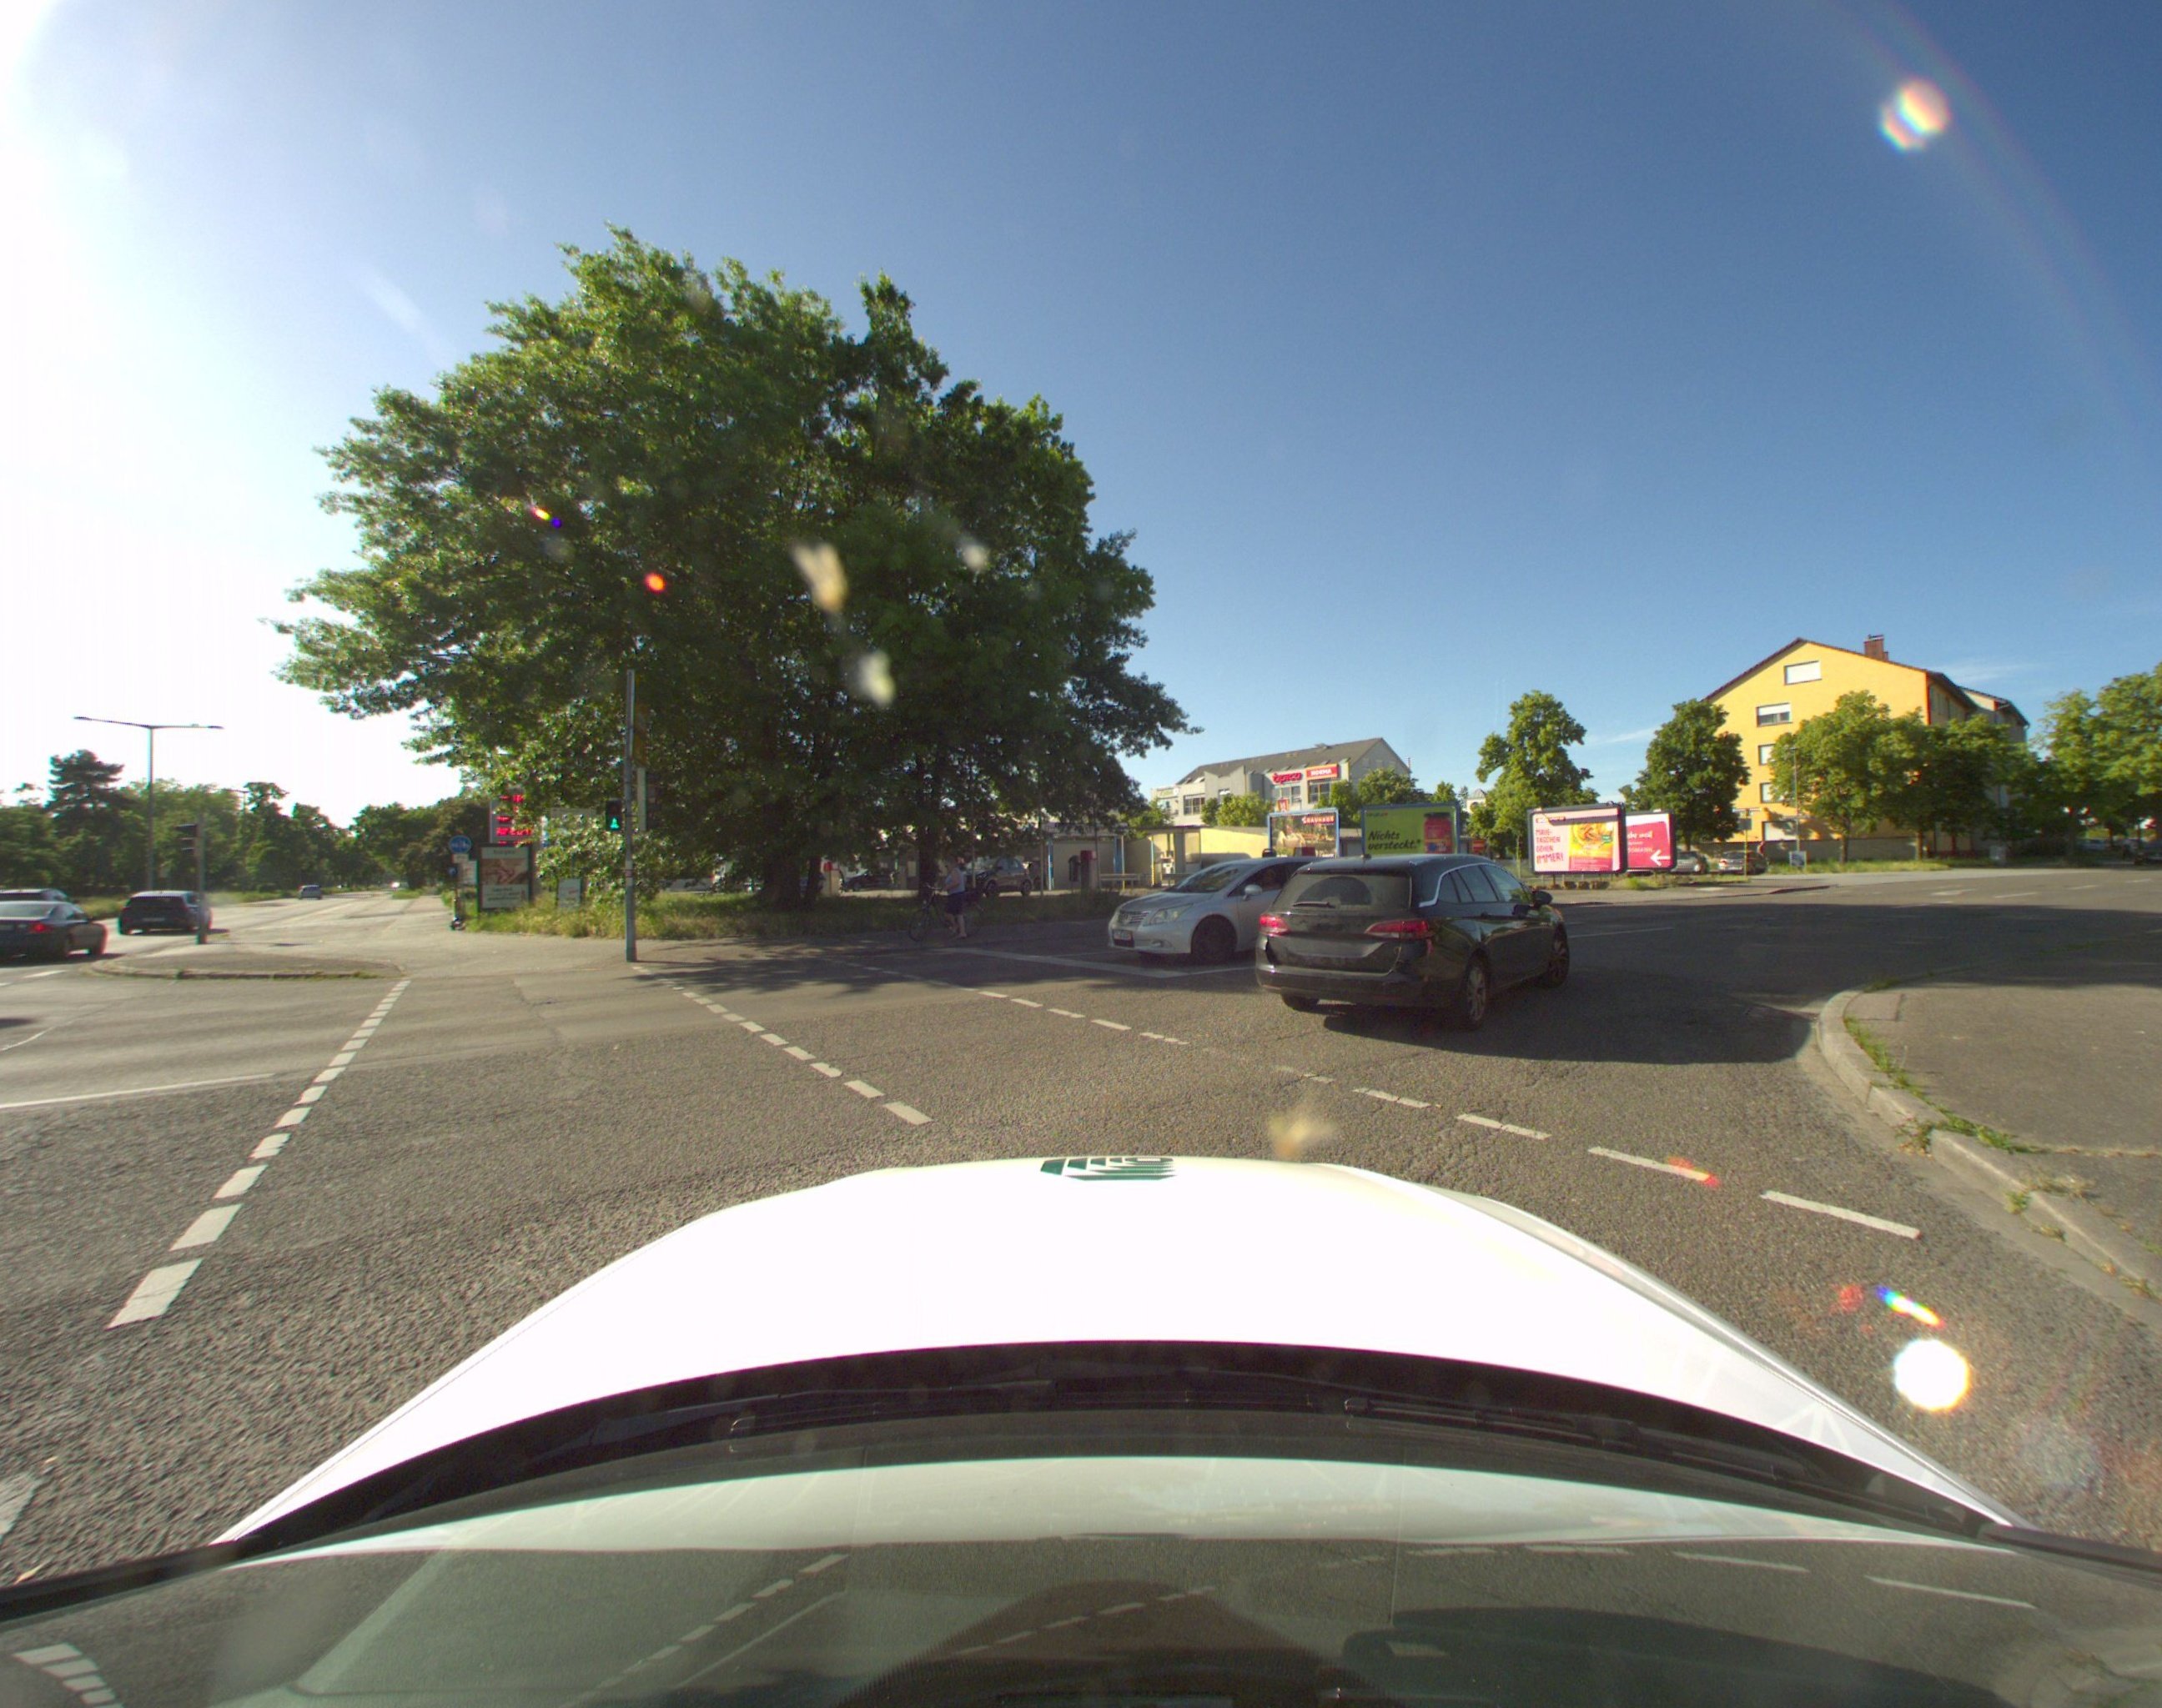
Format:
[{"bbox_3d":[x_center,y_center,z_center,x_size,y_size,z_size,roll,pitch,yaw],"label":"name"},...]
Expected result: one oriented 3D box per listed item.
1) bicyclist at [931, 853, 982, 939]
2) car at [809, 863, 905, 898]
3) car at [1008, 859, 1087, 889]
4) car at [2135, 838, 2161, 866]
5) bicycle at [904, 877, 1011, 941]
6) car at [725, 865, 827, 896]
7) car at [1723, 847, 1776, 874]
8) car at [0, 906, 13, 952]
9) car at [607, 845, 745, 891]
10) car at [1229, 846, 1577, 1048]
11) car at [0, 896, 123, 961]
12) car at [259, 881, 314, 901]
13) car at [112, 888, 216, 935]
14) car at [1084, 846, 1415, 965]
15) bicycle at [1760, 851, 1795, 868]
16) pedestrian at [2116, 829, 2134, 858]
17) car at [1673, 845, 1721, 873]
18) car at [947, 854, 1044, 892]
[{"bbox_3d":[-2.477,0.813,16.198,0.833,1.642,0.537,-1,-1,-33],"label":"bicyclist"},{"bbox_3d":[-10.099,1.212,37.010,1.512,1.512,4.024,-2,-3,41],"label":"car"},{"bbox_3d":[-1.817,1.149,45.009,4.020,1.607,1.976,2,-3,-40],"label":"car"},{"bbox_3d":[58.507,-0.081,43.824,4.064,1.480,1.690,1,0,-30],"label":"car"},{"bbox_3d":[-2.434,1.063,16.204,2.033,1.141,0.523,-1,-1,-33],"label":"bicycle"},{"bbox_3d":[-13.959,1.232,37.436,1.776,1.335,4.024,-2,-3,40],"label":"car"},{"bbox_3d":[40.108,0.408,48.837,3.901,1.464,1.714,-2,-1,-40],"label":"car"},{"bbox_3d":[-39.447,2.678,28.199,1.926,1.653,4.314,2,-3,-39],"label":"car"},{"bbox_3d":[-19.609,0.730,39.599,5.680,2.099,1.977,2,-3,-38],"label":"car"},{"bbox_3d":[3.431,0.691,8.162,1.745,1.491,4.316,-1,-1,44],"label":"car"},{"bbox_3d":[-25.194,1.745,19.693,1.852,1.395,4.313,2,-3,-40],"label":"car"},{"bbox_3d":[-82.074,3.828,84.144,3.961,2.014,2.006,-1,-3,11],"label":"car"},{"bbox_3d":[-34.189,2.102,30.489,1.851,1.588,4.314,1,-2,-39],"label":"car"},{"bbox_3d":[2.653,0.698,12.541,4.900,1.489,1.826,-1,-2,-27],"label":"car"},{"bbox_3d":[43.680,0.349,51.063,1.601,1.011,0.409,-2,-3,32],"label":"bicycle"},{"bbox_3d":[64.624,-0.660,50.408,0.697,1.761,0.501,2,-3,-30],"label":"pedestrian"},{"bbox_3d":[39.277,0.324,51.928,3.903,1.622,1.682,-2,-1,-42],"label":"car"},{"bbox_3d":[-3.203,0.775,31.194,1.737,1.376,4.023,-1,-3,28],"label":"car"}]
